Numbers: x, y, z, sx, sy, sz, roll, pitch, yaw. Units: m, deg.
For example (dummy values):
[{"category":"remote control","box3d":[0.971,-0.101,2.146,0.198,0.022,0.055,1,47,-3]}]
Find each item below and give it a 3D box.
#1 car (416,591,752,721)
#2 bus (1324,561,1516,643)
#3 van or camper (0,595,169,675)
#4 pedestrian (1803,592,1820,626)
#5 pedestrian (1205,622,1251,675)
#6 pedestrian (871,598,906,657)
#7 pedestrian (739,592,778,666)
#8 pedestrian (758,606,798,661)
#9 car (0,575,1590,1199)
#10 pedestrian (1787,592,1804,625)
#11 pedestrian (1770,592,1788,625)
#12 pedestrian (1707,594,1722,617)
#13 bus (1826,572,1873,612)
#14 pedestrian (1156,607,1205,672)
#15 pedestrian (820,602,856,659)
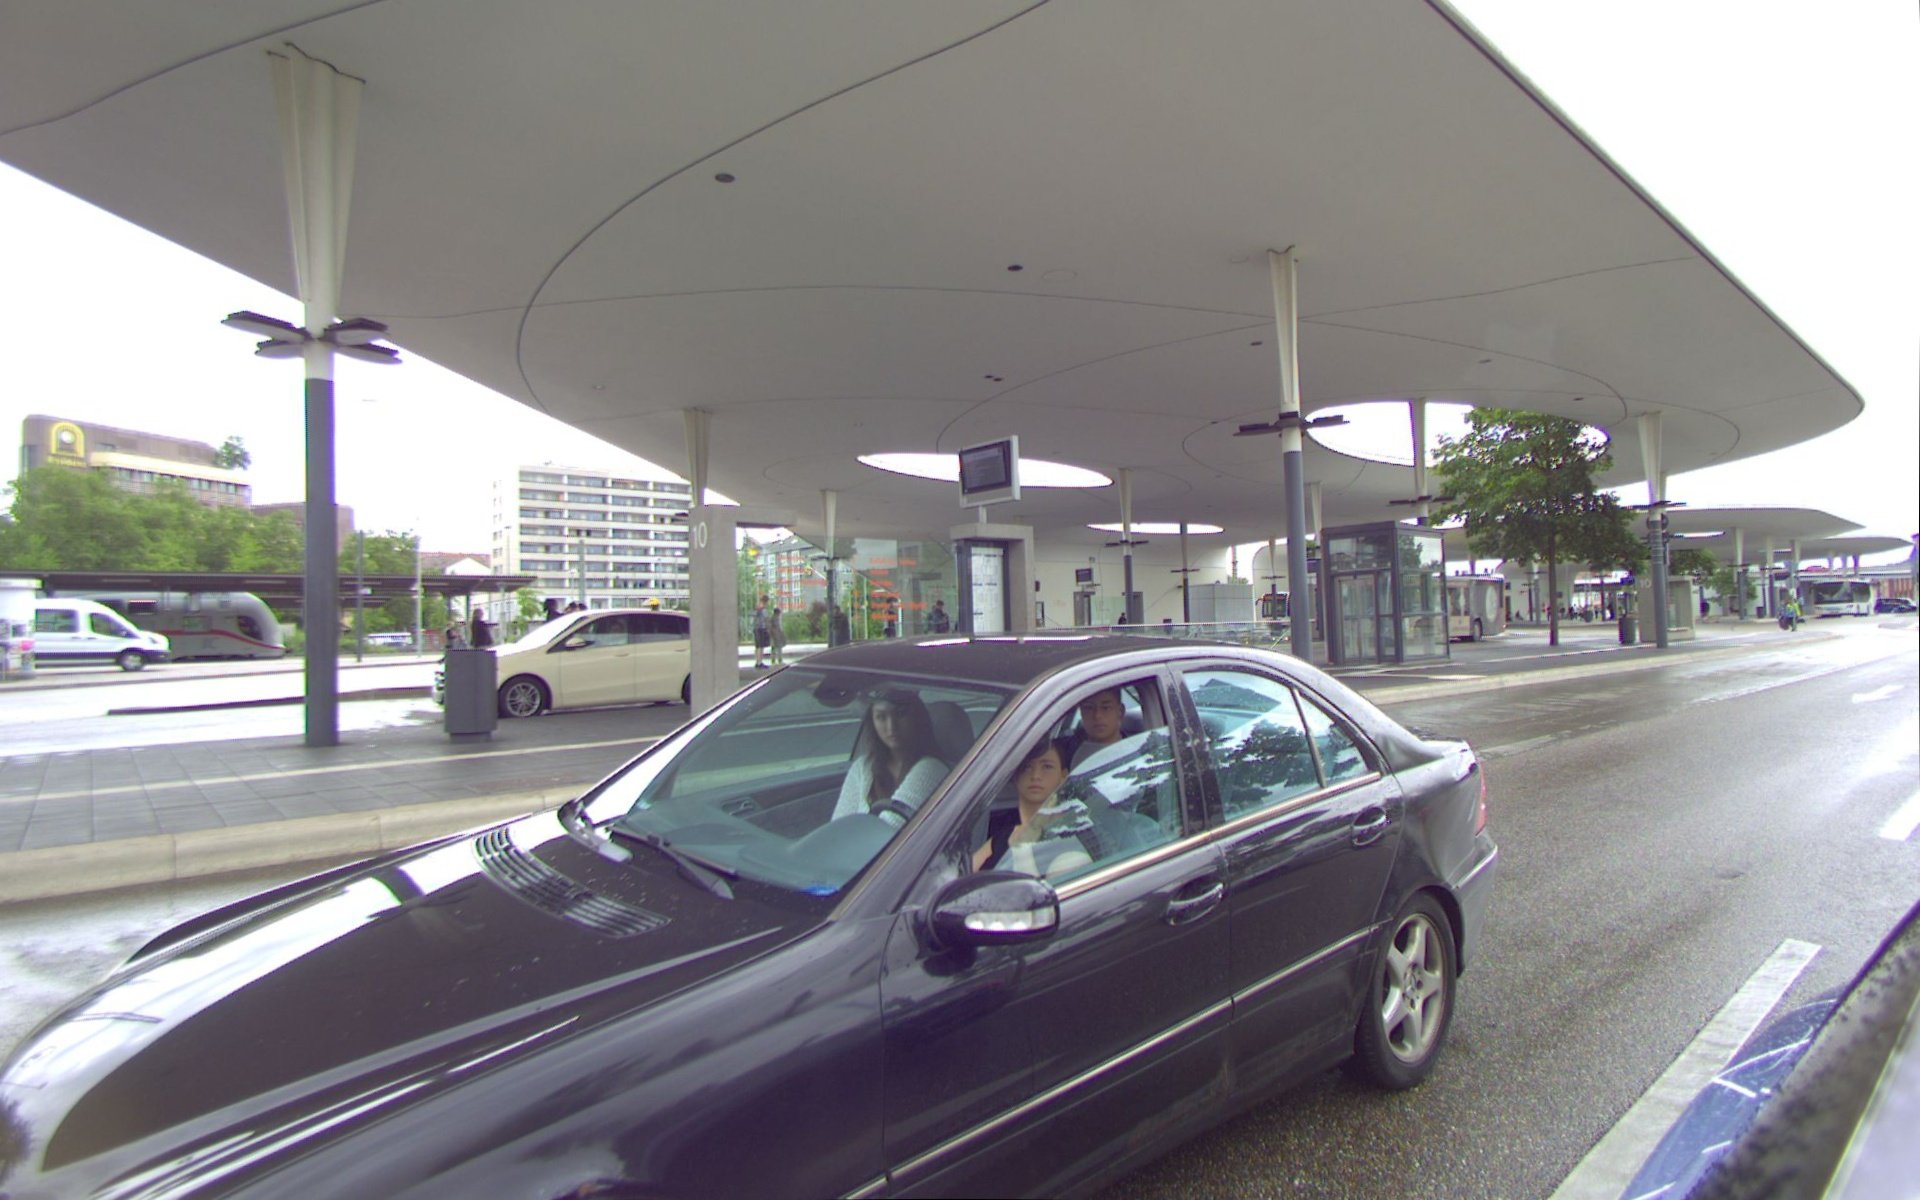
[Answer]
[{"category":"car","box3d":[-5.503,0.754,15.142,4.356,1.671,1.803,0,-3,-41]},{"category":"bus","box3d":[20.181,0.060,43.798,12.143,3.146,2.999,0,-1,-42]},{"category":"van or camper","box3d":[-29.766,1.115,33.238,5.868,2.495,2.106,0,-1,-41]},{"category":"pedestrian","box3d":[41.650,0.425,49.510,0.543,1.645,0.556,0,-1,-41]},{"category":"pedestrian","box3d":[5.163,0.922,19.498,0.626,0.974,0.622,0,-1,-41]},{"category":"pedestrian","box3d":[-1.926,0.728,27.074,0.680,1.564,0.658,0,-1,-40]},{"category":"pedestrian","box3d":[-4.840,0.679,24.297,0.680,1.728,0.658,0,-1,-40]},{"category":"pedestrian","box3d":[-5.075,0.920,28.228,0.732,1.497,0.825,-1,-1,43]},{"category":"car","box3d":[0.048,0.798,3.035,4.357,1.499,1.748,-2,-4,-40]},{"category":"pedestrian","box3d":[41.312,0.411,50.035,0.543,1.645,0.556,0,-1,-41]},{"category":"pedestrian","box3d":[40.912,0.406,50.566,0.577,1.645,0.576,0,-1,-41]},{"category":"pedestrian","box3d":[53.173,0.385,71.320,0.740,1.651,0.723,0,-1,-41]},{"category":"bus","box3d":[75.392,-0.669,85.704,2.666,3.169,9.565,-1,-1,43]},{"category":"pedestrian","box3d":[4.440,0.788,20.399,0.657,1.268,0.692,0,-1,-41]},{"category":"pedestrian","box3d":[-3.635,0.901,30.248,0.646,1.654,0.854,-1,-1,43]}]
